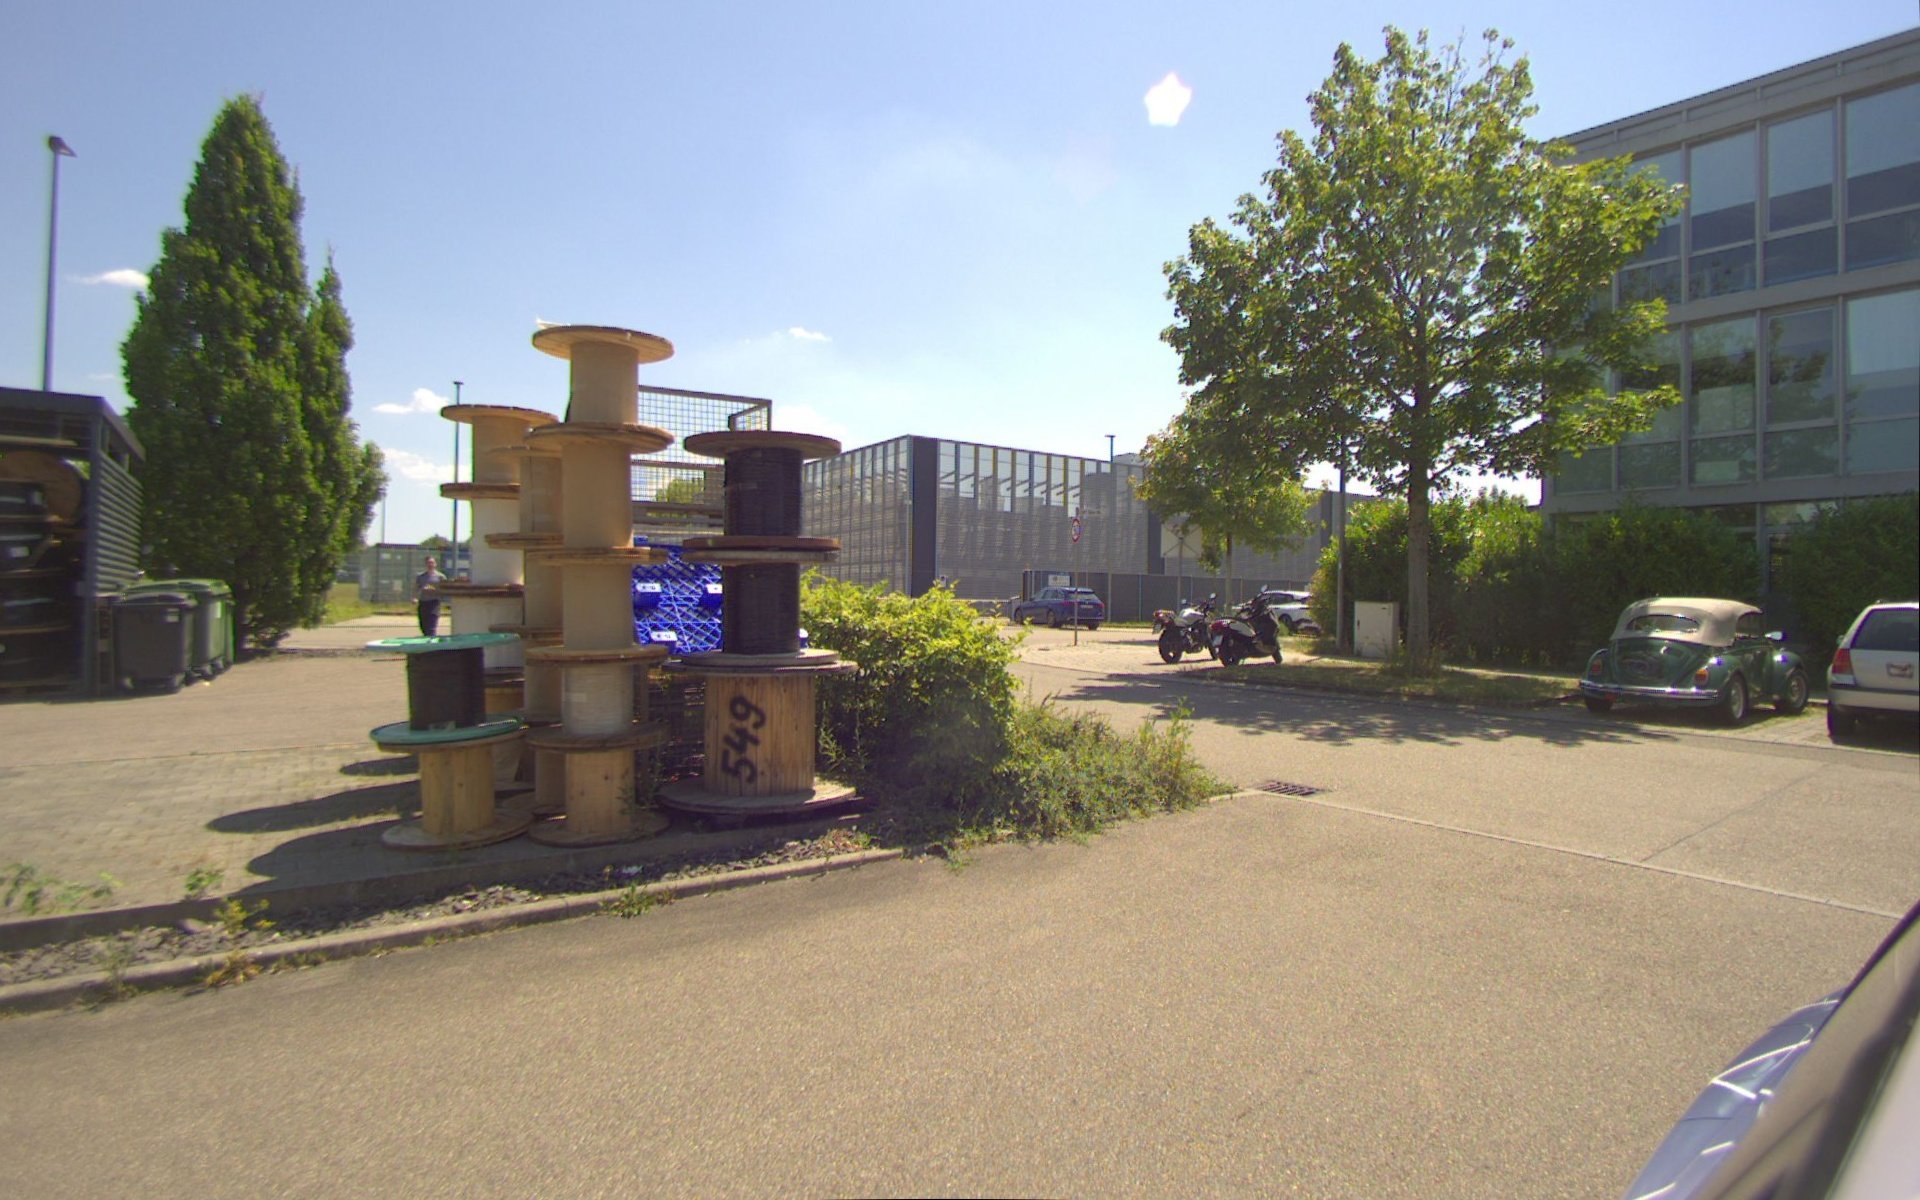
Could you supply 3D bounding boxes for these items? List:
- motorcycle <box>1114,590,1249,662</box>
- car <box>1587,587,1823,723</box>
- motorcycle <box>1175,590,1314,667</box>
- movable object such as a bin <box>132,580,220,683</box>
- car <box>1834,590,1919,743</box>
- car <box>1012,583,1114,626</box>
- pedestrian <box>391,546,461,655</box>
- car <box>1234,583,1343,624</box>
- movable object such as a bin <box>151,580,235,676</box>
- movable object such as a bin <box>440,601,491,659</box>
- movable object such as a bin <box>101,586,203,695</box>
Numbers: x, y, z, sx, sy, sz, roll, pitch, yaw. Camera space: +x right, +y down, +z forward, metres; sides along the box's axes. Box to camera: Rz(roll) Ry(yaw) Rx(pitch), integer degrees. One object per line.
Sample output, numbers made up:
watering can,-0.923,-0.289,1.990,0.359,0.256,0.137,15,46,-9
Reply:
motorcycle,4.237,0.449,19.205,2.782,1.275,0.874,-1,1,-36
car,9.444,0.579,12.758,3.356,1.463,1.522,-1,2,-38
motorcycle,5.152,0.466,18.221,2.782,1.275,0.874,-1,1,-36
movable object such as a bin,-10.491,0.398,13.571,0.785,1.314,0.757,0,1,-26
car,10.872,0.658,10.963,3.538,1.470,1.641,-1,2,-41
car,3.600,0.122,36.264,1.820,1.427,4.455,0,1,-21
pedestrian,-9.080,0.001,17.229,0.793,1.791,0.769,1,1,-4
car,12.727,0.108,39.505,1.743,1.494,4.424,0,1,-18
movable object such as a bin,-10.854,0.370,14.355,0.785,1.314,0.811,0,1,-26
movable object such as a bin,-8.253,0.485,16.910,0.581,0.929,0.541,1,1,32
movable object such as a bin,-9.897,0.468,12.431,0.785,1.265,0.878,0,1,-26
